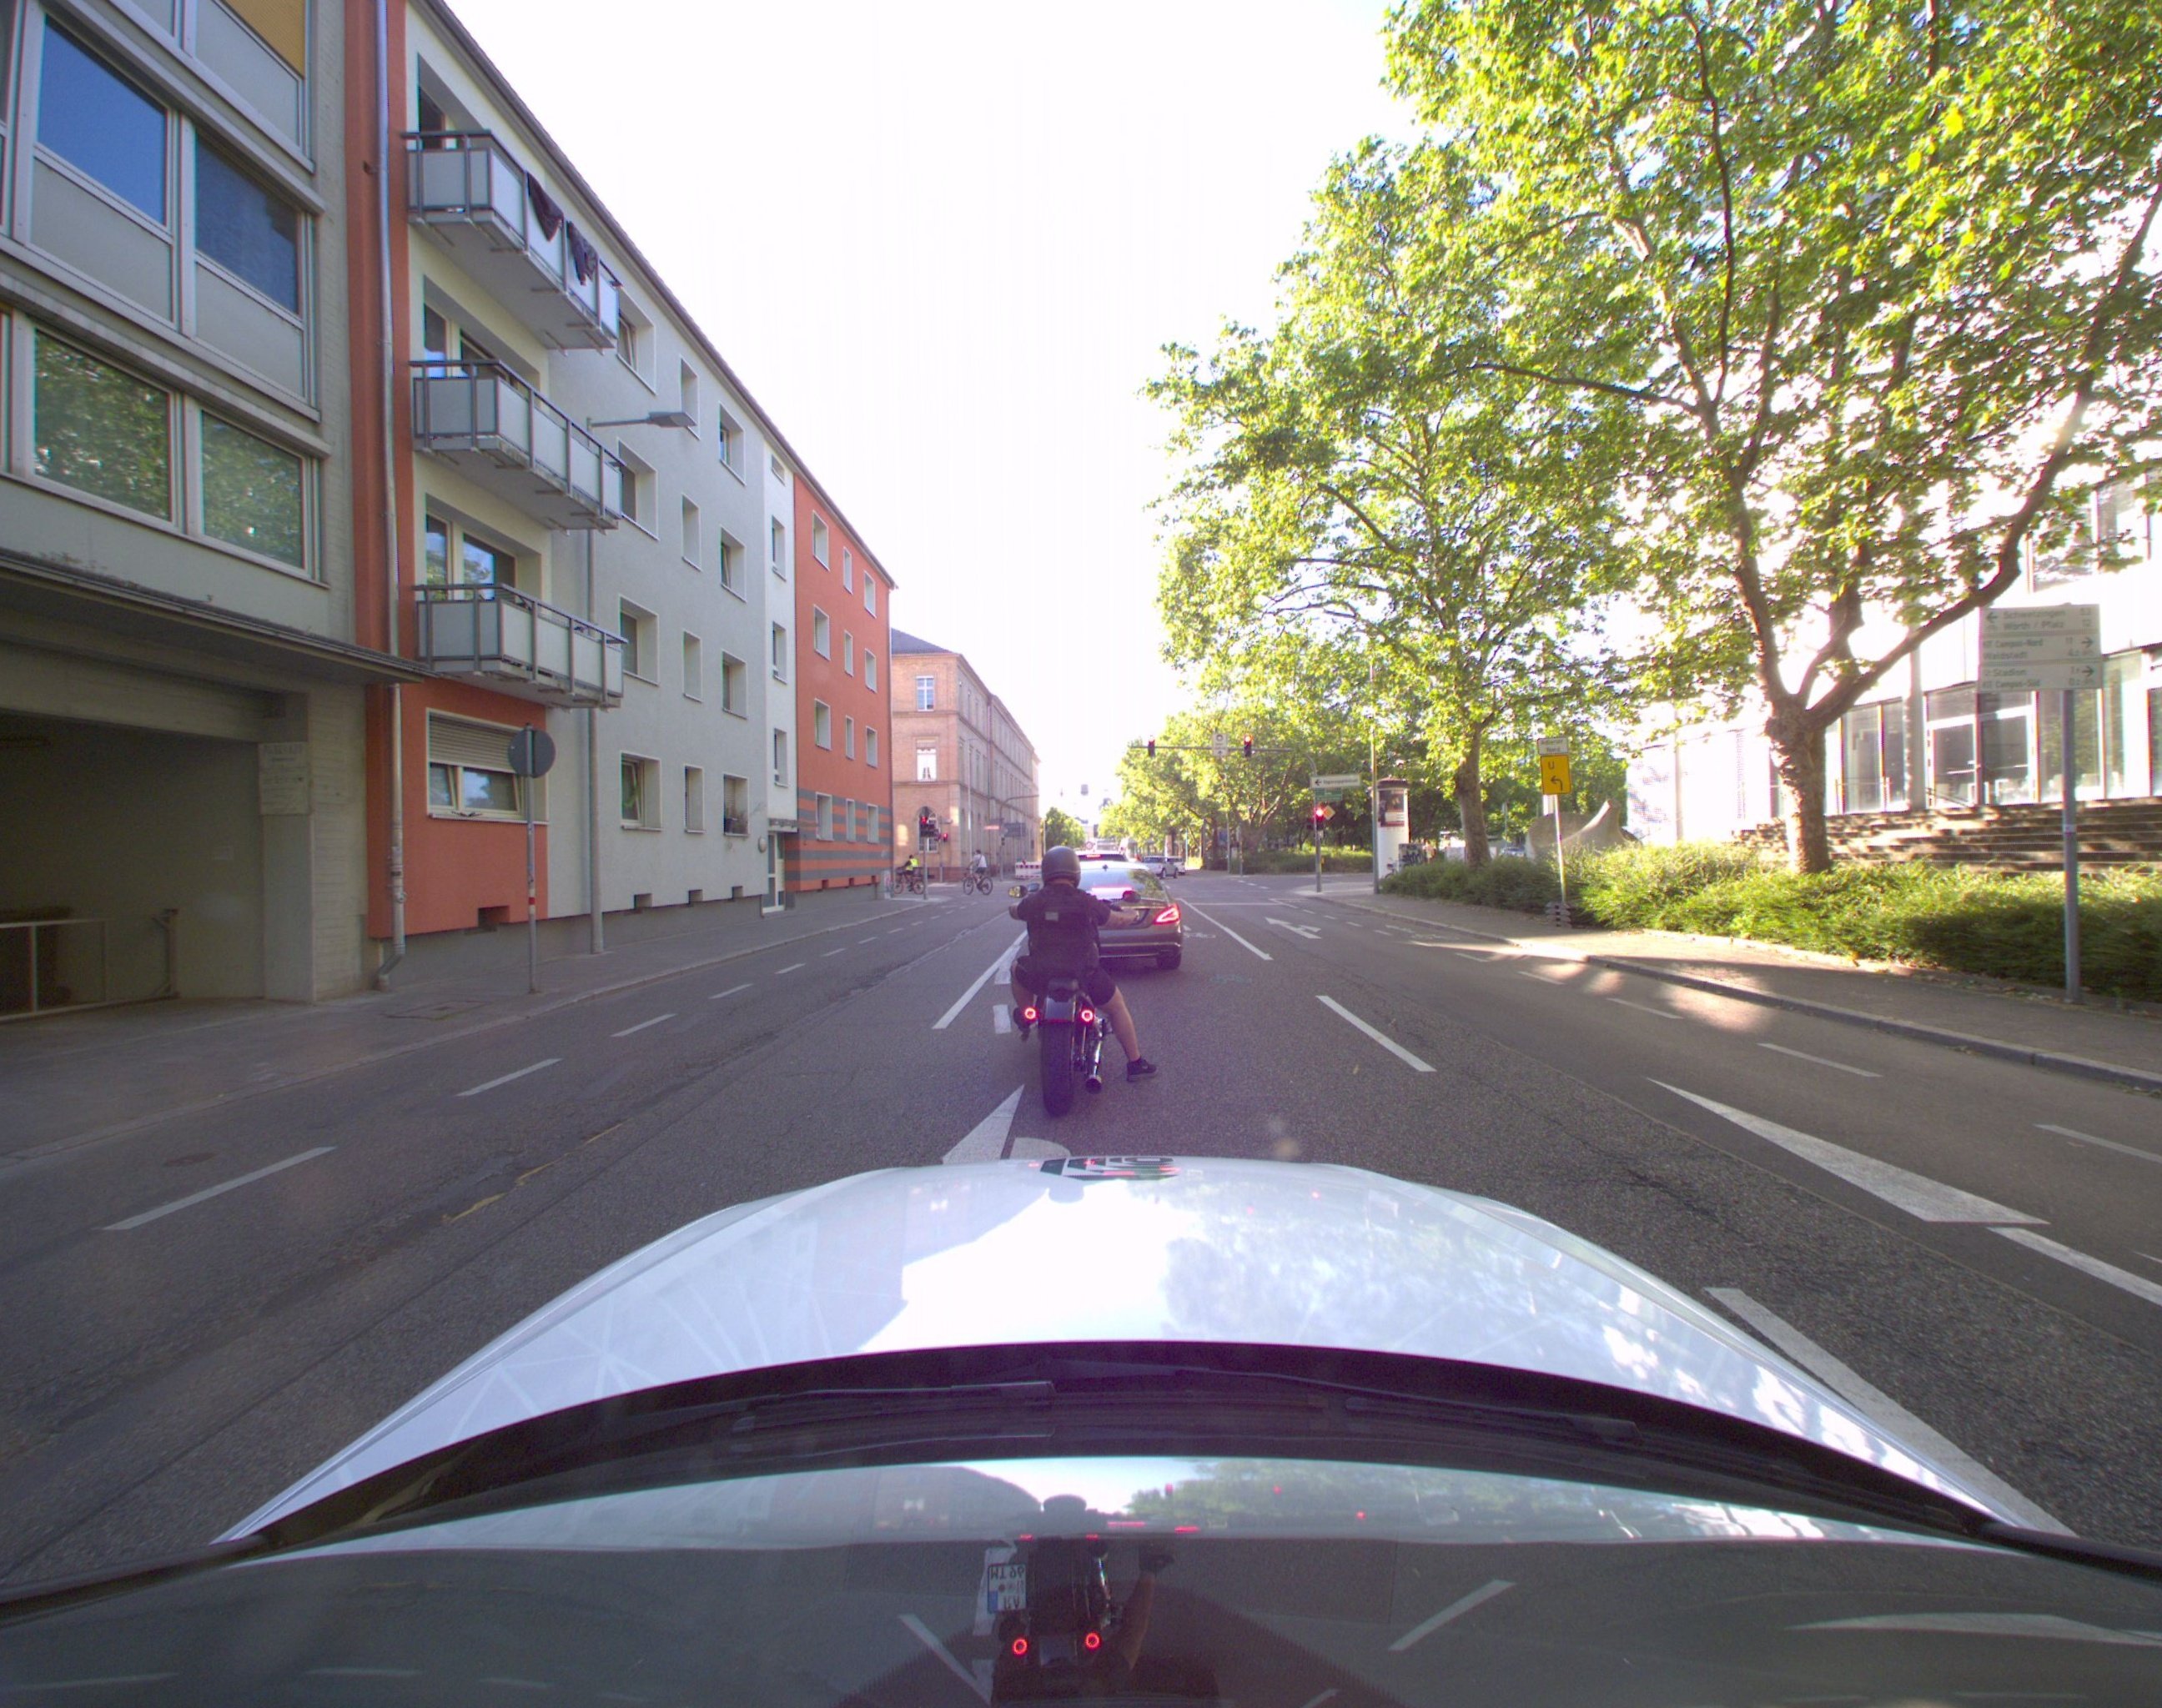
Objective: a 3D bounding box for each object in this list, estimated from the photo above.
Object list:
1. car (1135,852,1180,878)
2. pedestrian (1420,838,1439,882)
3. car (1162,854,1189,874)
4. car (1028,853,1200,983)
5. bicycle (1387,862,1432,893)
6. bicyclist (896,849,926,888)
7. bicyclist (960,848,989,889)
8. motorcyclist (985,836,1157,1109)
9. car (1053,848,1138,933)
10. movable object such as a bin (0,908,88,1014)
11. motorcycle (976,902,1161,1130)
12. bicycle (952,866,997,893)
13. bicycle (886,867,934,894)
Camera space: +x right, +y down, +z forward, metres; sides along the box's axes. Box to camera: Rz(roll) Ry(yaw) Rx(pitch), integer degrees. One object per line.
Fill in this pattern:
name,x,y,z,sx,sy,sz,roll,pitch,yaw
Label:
car,4.797,0.663,50.695,1.806,1.481,3.928,-3,0,20
pedestrian,14.894,0.237,34.809,0.549,1.849,0.594,-1,0,3
car,7.329,0.779,63.280,1.848,1.486,3.912,0,-1,3
car,0.254,0.744,11.717,1.943,1.473,4.355,-1,0,-5
bicycle,11.035,0.793,27.399,1.346,1.023,0.363,-1,0,2
bicyclist,-7.571,0.638,36.191,1.034,1.695,0.710,-3,-1,29
bicyclist,-4.432,0.605,33.883,0.952,1.692,0.710,-2,0,35
motorcyclist,-0.039,0.701,5.526,0.986,1.597,1.404,-1,0,2
car,0.318,0.707,17.887,1.606,1.607,4.329,-1,0,1
movable object such as a bin,-11.319,1.116,8.680,0.593,1.041,0.703,0,-1,1
motorcycle,-0.030,0.961,5.679,0.986,1.078,2.453,-1,0,2
bicycle,-4.460,1.057,33.903,1.855,1.103,0.710,-1,0,36
bicycle,-7.624,1.183,36.237,2.136,1.103,0.710,-3,-1,29
